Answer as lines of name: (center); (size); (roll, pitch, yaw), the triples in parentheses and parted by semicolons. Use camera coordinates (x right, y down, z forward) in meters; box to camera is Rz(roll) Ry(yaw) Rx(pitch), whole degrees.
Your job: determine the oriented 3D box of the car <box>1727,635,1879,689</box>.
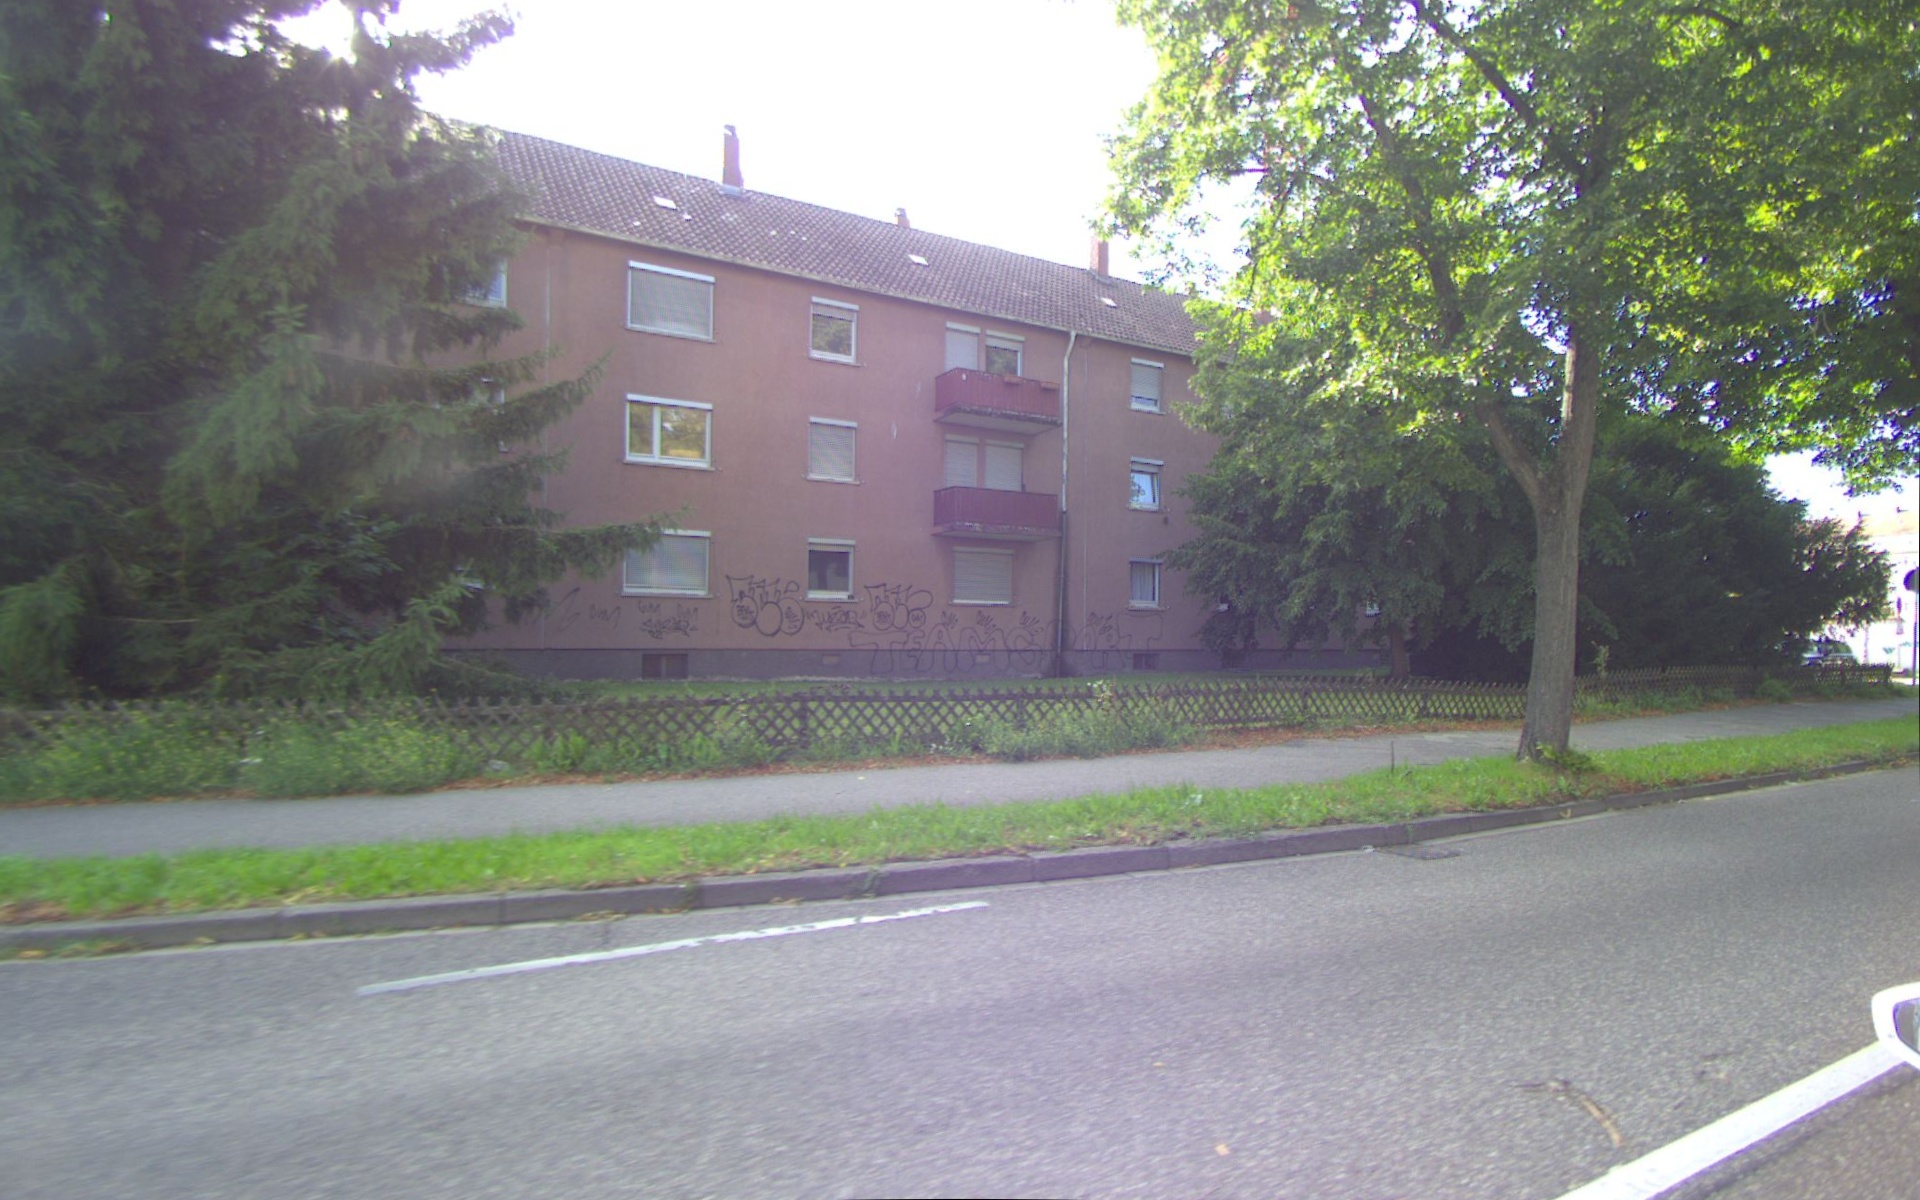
car: (25.055, 1.848, 29.847); (4.452, 1.447, 1.986); (3, -3, -28)
